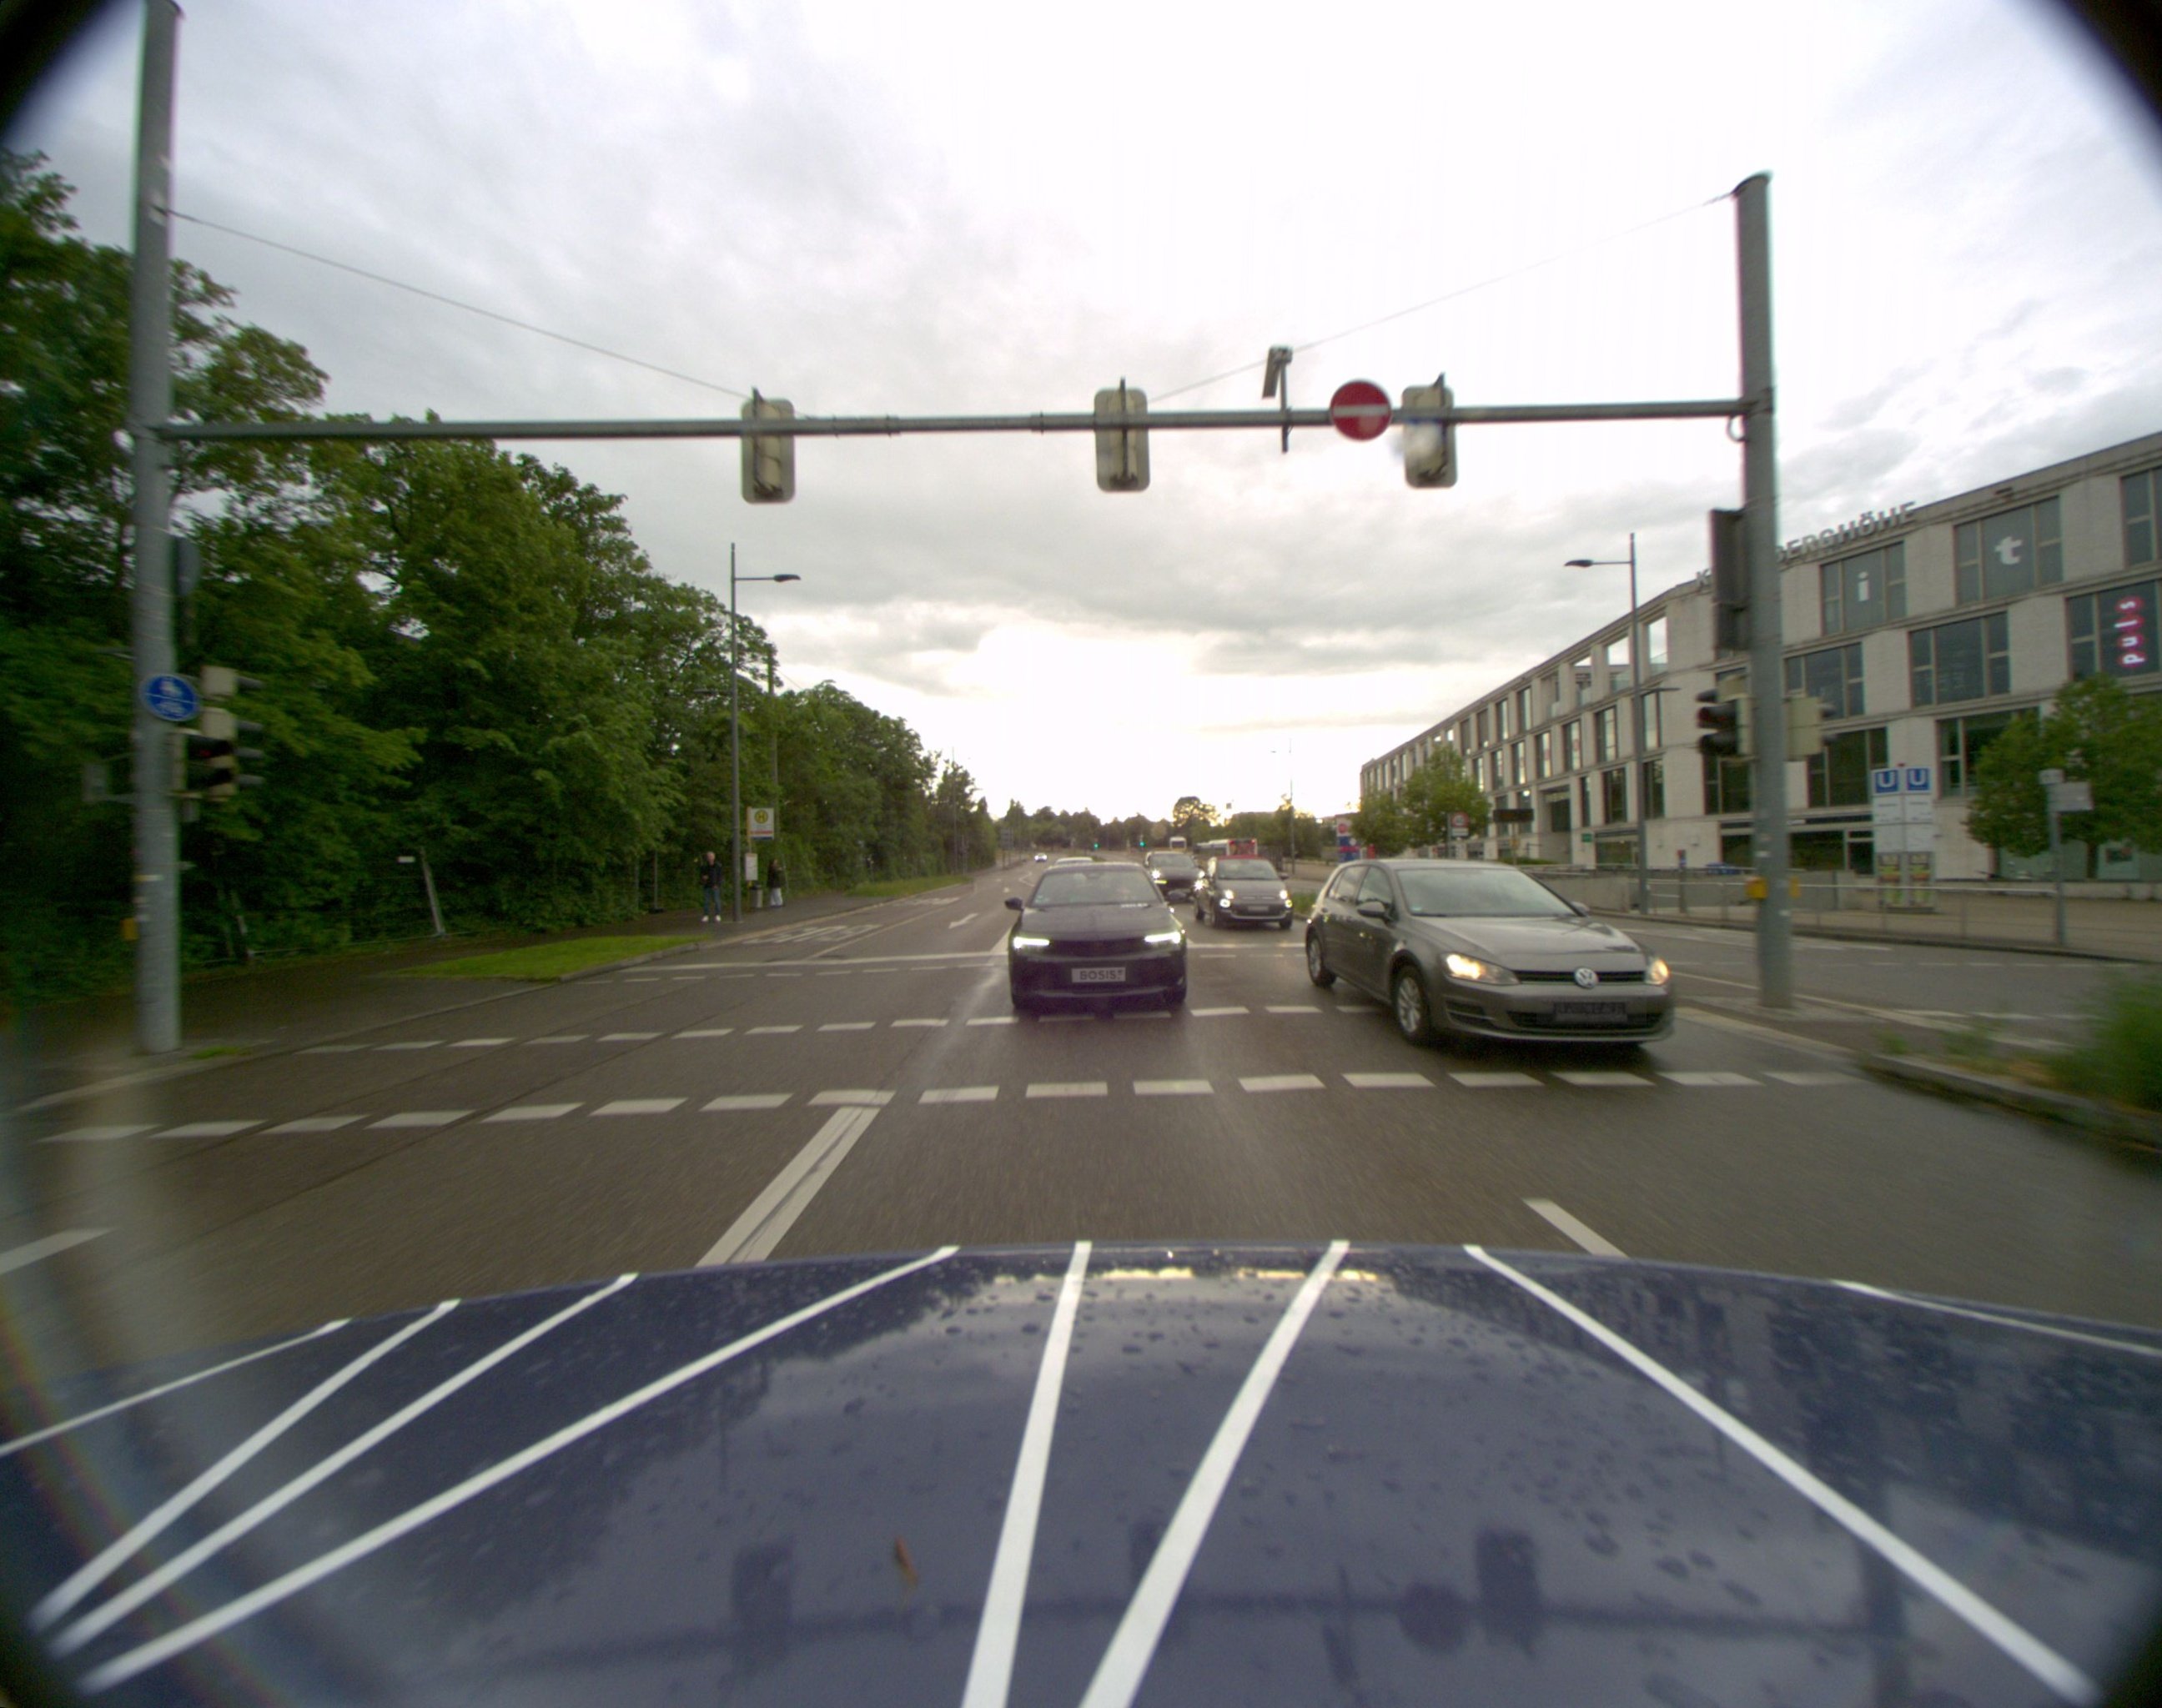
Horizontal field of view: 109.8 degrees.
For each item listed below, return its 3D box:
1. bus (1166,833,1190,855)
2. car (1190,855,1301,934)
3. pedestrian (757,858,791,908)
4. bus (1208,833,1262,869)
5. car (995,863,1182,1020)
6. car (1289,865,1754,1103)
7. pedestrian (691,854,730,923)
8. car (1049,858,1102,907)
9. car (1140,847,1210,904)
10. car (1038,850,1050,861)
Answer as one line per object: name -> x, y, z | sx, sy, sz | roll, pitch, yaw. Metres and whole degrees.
bus -> 16.113, -1.586, 126.225 | 2.815, 3.495, 9.142 | -1, 0, 0
car -> 3.465, 0.800, 16.643 | 1.670, 1.520, 3.657 | -1, 0, 1
pedestrian -> -10.669, 0.999, 26.432 | 0.822, 1.666, 0.831 | -1, 1, 1
bus -> 13.547, -0.266, 67.771 | 2.879, 2.971, 10.006 | -1, 0, 1
car -> -0.013, 0.893, 9.783 | 1.804, 1.422, 4.519 | -2, 0, -2
car -> 3.343, 0.858, 6.828 | 1.904, 1.431, 4.000 | 0, 0, 1
pedestrian -> -10.170, 0.932, 20.877 | 0.677, 1.872, 0.699 | -1, 1, 1
car -> -0.170, 0.910, 26.055 | 1.645, 1.511, 3.579 | -1, 0, 0
car -> 3.136, 0.672, 26.065 | 1.906, 1.761, 4.000 | -1, 0, 0
car -> -6.592, 0.282, 135.086 | 1.999, 2.002, 3.998 | -1, 0, -5
